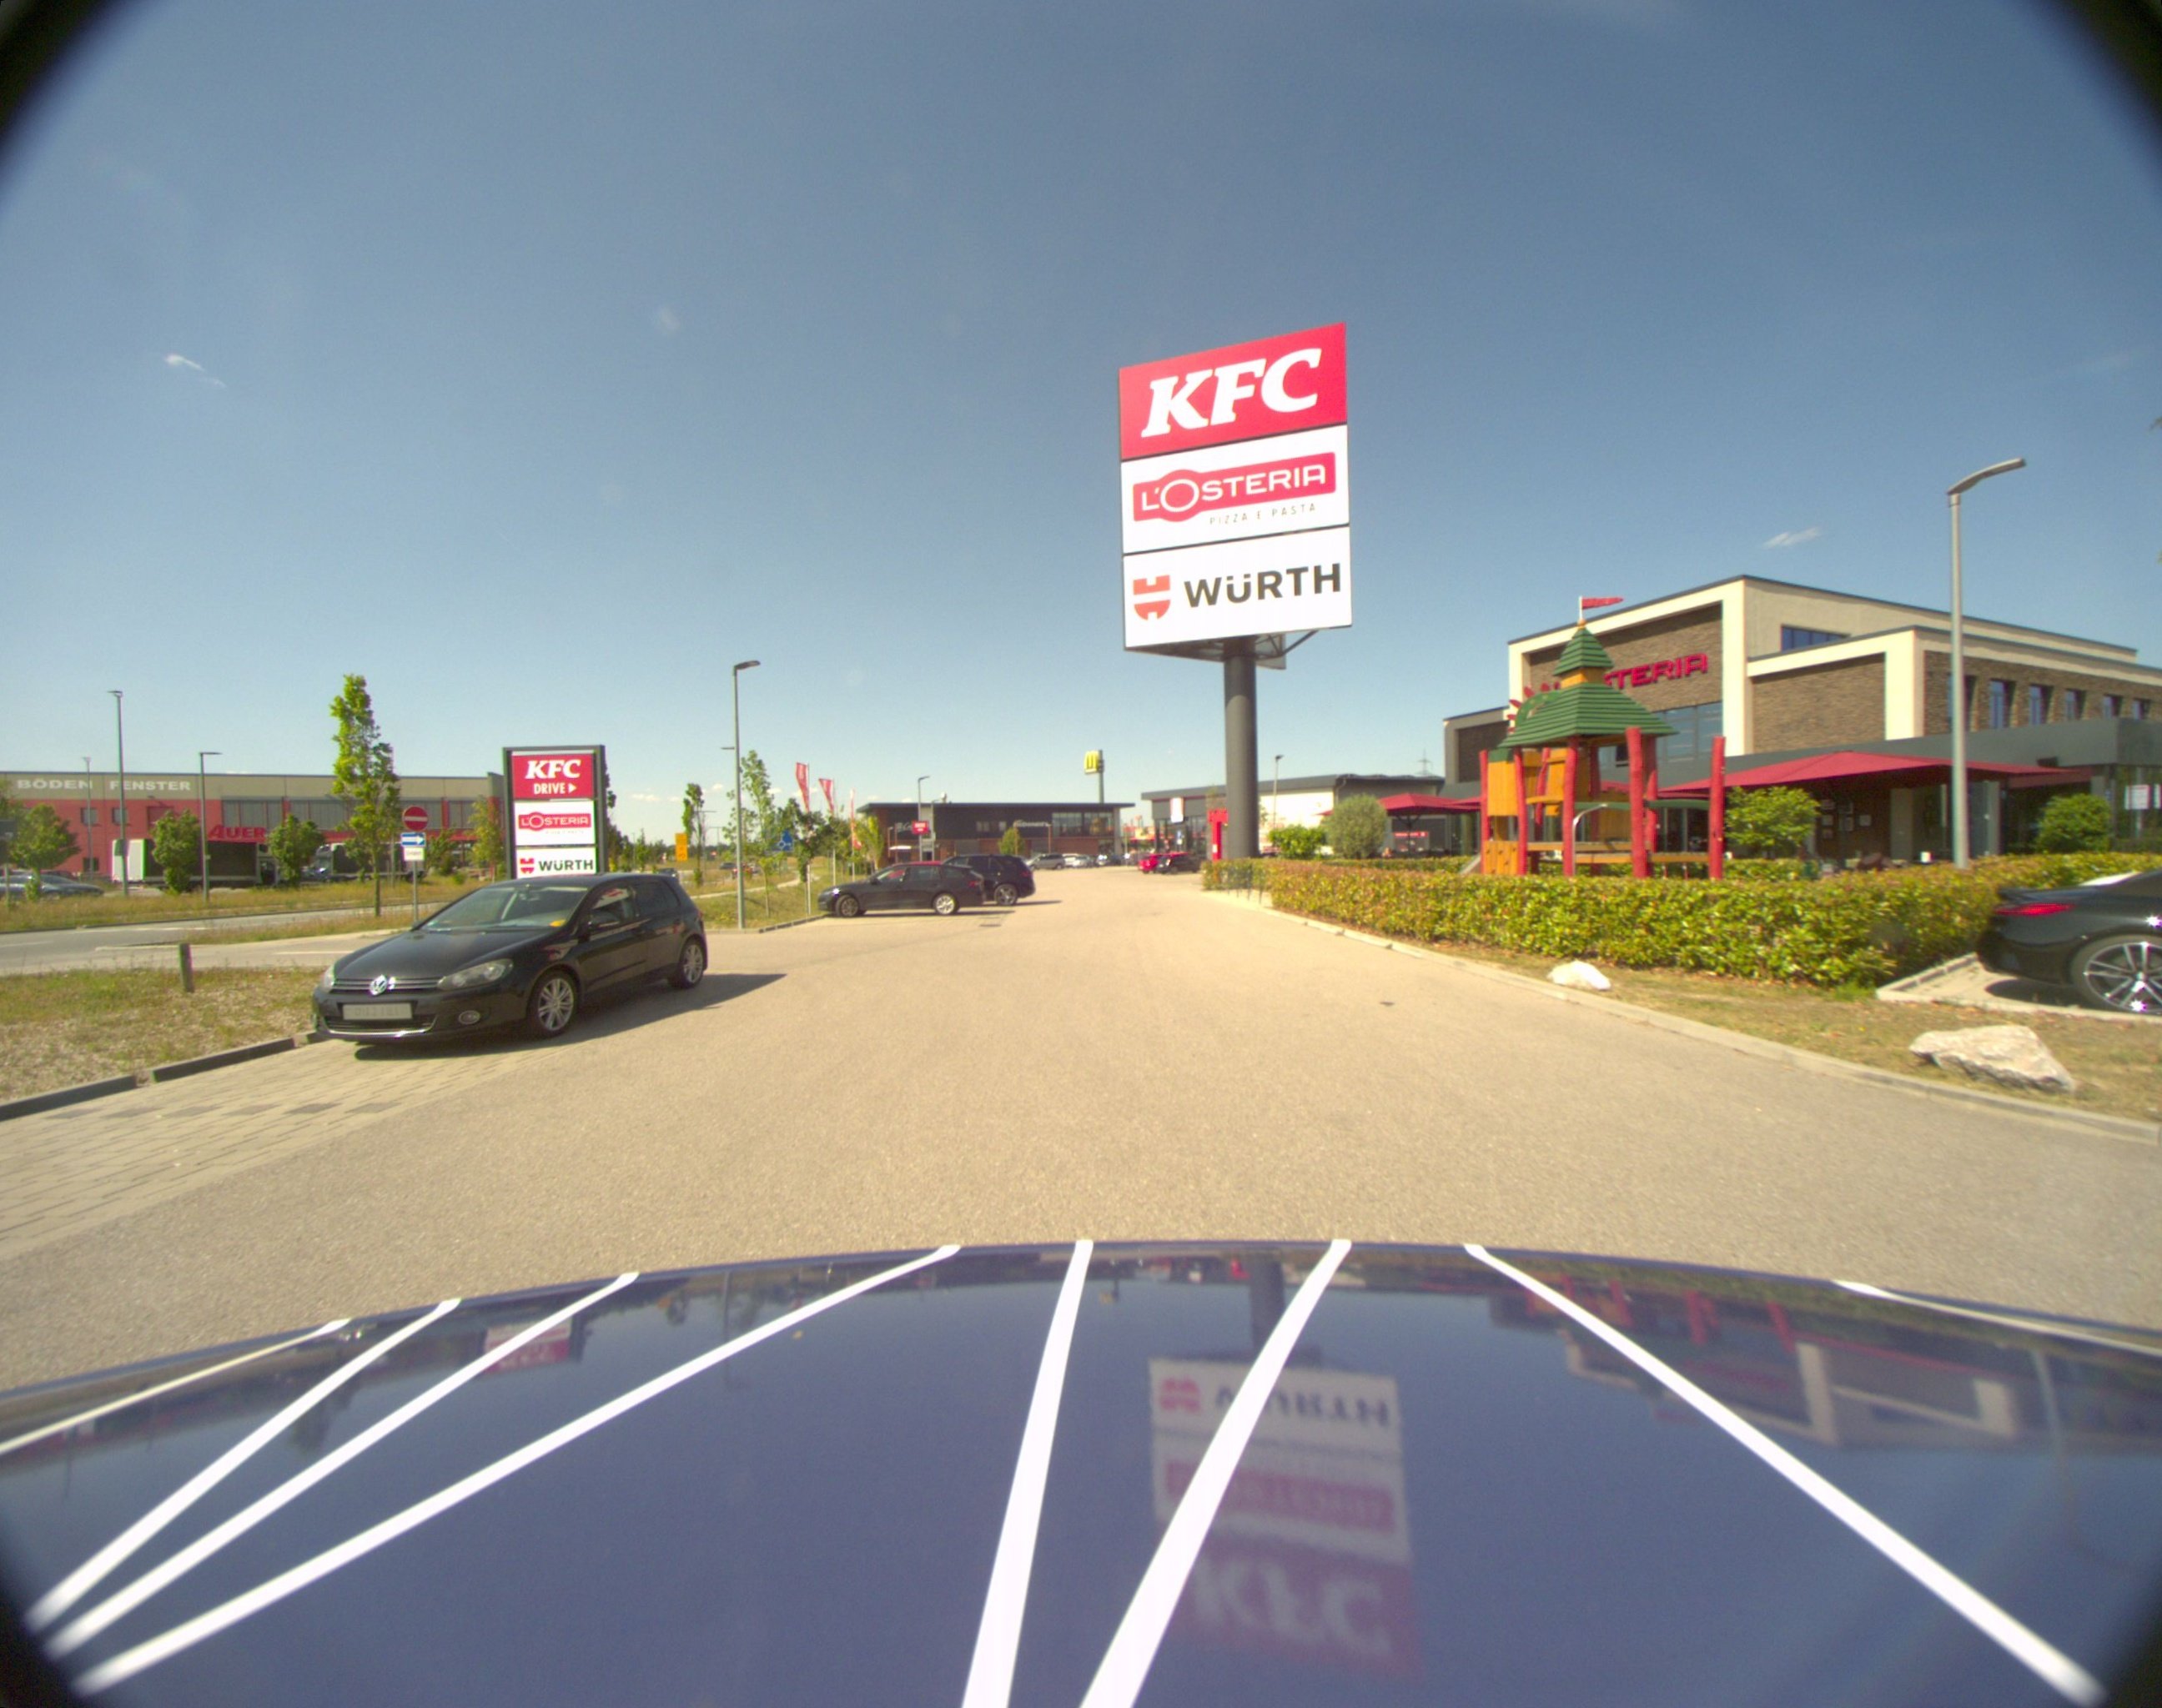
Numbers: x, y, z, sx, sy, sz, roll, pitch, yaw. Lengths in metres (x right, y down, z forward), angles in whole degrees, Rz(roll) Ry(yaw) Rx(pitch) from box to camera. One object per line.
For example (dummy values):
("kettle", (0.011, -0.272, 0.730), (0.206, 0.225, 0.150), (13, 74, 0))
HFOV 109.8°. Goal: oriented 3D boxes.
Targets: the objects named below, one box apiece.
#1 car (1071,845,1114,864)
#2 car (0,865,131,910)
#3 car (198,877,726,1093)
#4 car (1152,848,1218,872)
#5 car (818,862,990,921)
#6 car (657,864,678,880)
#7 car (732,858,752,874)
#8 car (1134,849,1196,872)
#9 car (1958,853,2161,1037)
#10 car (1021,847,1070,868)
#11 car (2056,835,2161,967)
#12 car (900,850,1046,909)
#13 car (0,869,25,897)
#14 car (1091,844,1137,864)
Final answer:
("car", (1.317, 0.048, 88.686), (4.489, 2.002, 1.996), (-2, 1, -22))
("car", (-51.413, 1.677, 38.063), (4.484, 2.026, 1.998), (-2, 1, -9))
("car", (-5.740, 1.064, 7.973), (1.877, 1.457, 4.364), (-1, 0, 1))
("car", (7.276, 0.414, 53.217), (4.100, 1.556, 1.875), (-2, 1, -22))
("car", (-4.925, 1.037, 21.726), (4.533, 1.450, 1.999), (-1, 0, -6))
("car", (-43.497, 1.853, 79.960), (1.831, 1.532, 3.991), (-2, 0, -28))
("car", (-36.548, 1.284, 81.932), (1.831, 1.532, 3.991), (-2, 1, -26))
("car", (6.140, 0.474, 55.695), (4.100, 1.556, 1.875), (-2, 1, -22))
("car", (9.387, 0.664, 5.251), (1.834, 1.330, 4.144), (-2, 0, -33))
("car", (-3.644, 0.348, 77.751), (4.489, 2.002, 1.996), (-2, 1, -22))
("car", (13.488, 0.508, 7.874), (1.806, 1.466, 3.905), (-2, 0, -28))
("car", (-3.610, 0.847, 25.932), (4.529, 1.825, 2.001), (-1, 1, 5))
("car", (-81.794, 2.228, 56.240), (2.002, 2.026, 4.476), (-2, 1, -21))
("car", (3.624, 0.018, 83.192), (4.489, 2.002, 1.996), (-2, 1, -22))
